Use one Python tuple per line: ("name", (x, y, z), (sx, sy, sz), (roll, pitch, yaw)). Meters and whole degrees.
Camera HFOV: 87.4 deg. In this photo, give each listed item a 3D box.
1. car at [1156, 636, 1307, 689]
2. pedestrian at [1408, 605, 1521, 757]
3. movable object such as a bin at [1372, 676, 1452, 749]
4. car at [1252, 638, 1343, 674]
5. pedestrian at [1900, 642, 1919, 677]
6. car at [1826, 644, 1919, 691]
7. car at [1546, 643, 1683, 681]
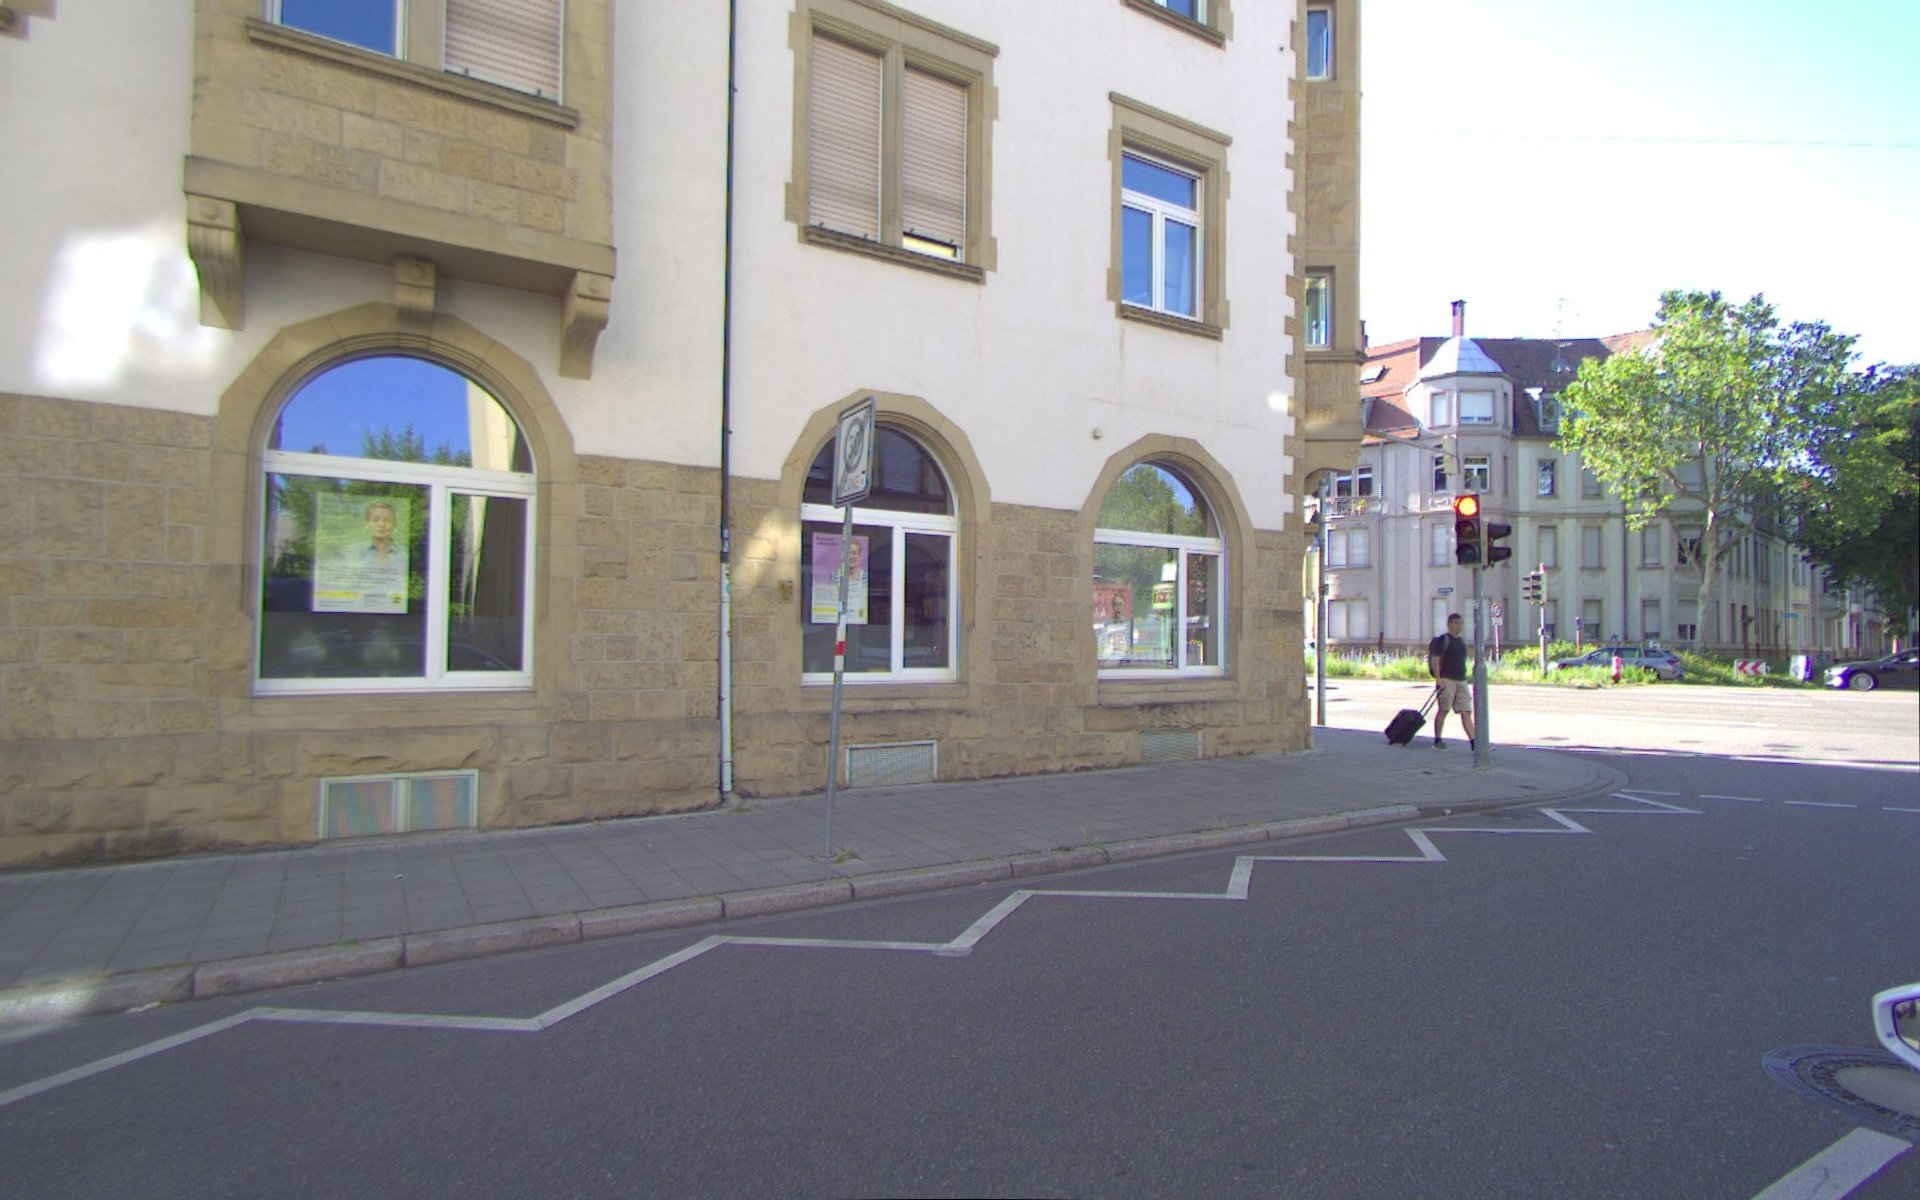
("car", (8.175, 1.832, 30.459), (4.155, 1.476, 1.669), (-2, -2, 42))
("pedestrian", (6.684, 1.044, 13.336), (0.743, 1.873, 1.056), (3, 1, -42))
("movable object such as a bin", (6.082, 1.501, 13.538), (0.506, 0.904, 0.854), (2, -3, -42))
("car", (15.086, 2.479, 44.930), (3.589, 1.476, 1.496), (-1, -2, 41))
("pedestrian", (41.859, 2.613, 44.144), (0.693, 1.461, 0.489), (2, 0, 30))
("car", (29.890, 2.110, 31.398), (4.216, 1.419, 1.639), (-1, -2, 40))
("car", (25.505, 2.380, 39.234), (4.336, 1.334, 1.638), (-1, -2, 41))
